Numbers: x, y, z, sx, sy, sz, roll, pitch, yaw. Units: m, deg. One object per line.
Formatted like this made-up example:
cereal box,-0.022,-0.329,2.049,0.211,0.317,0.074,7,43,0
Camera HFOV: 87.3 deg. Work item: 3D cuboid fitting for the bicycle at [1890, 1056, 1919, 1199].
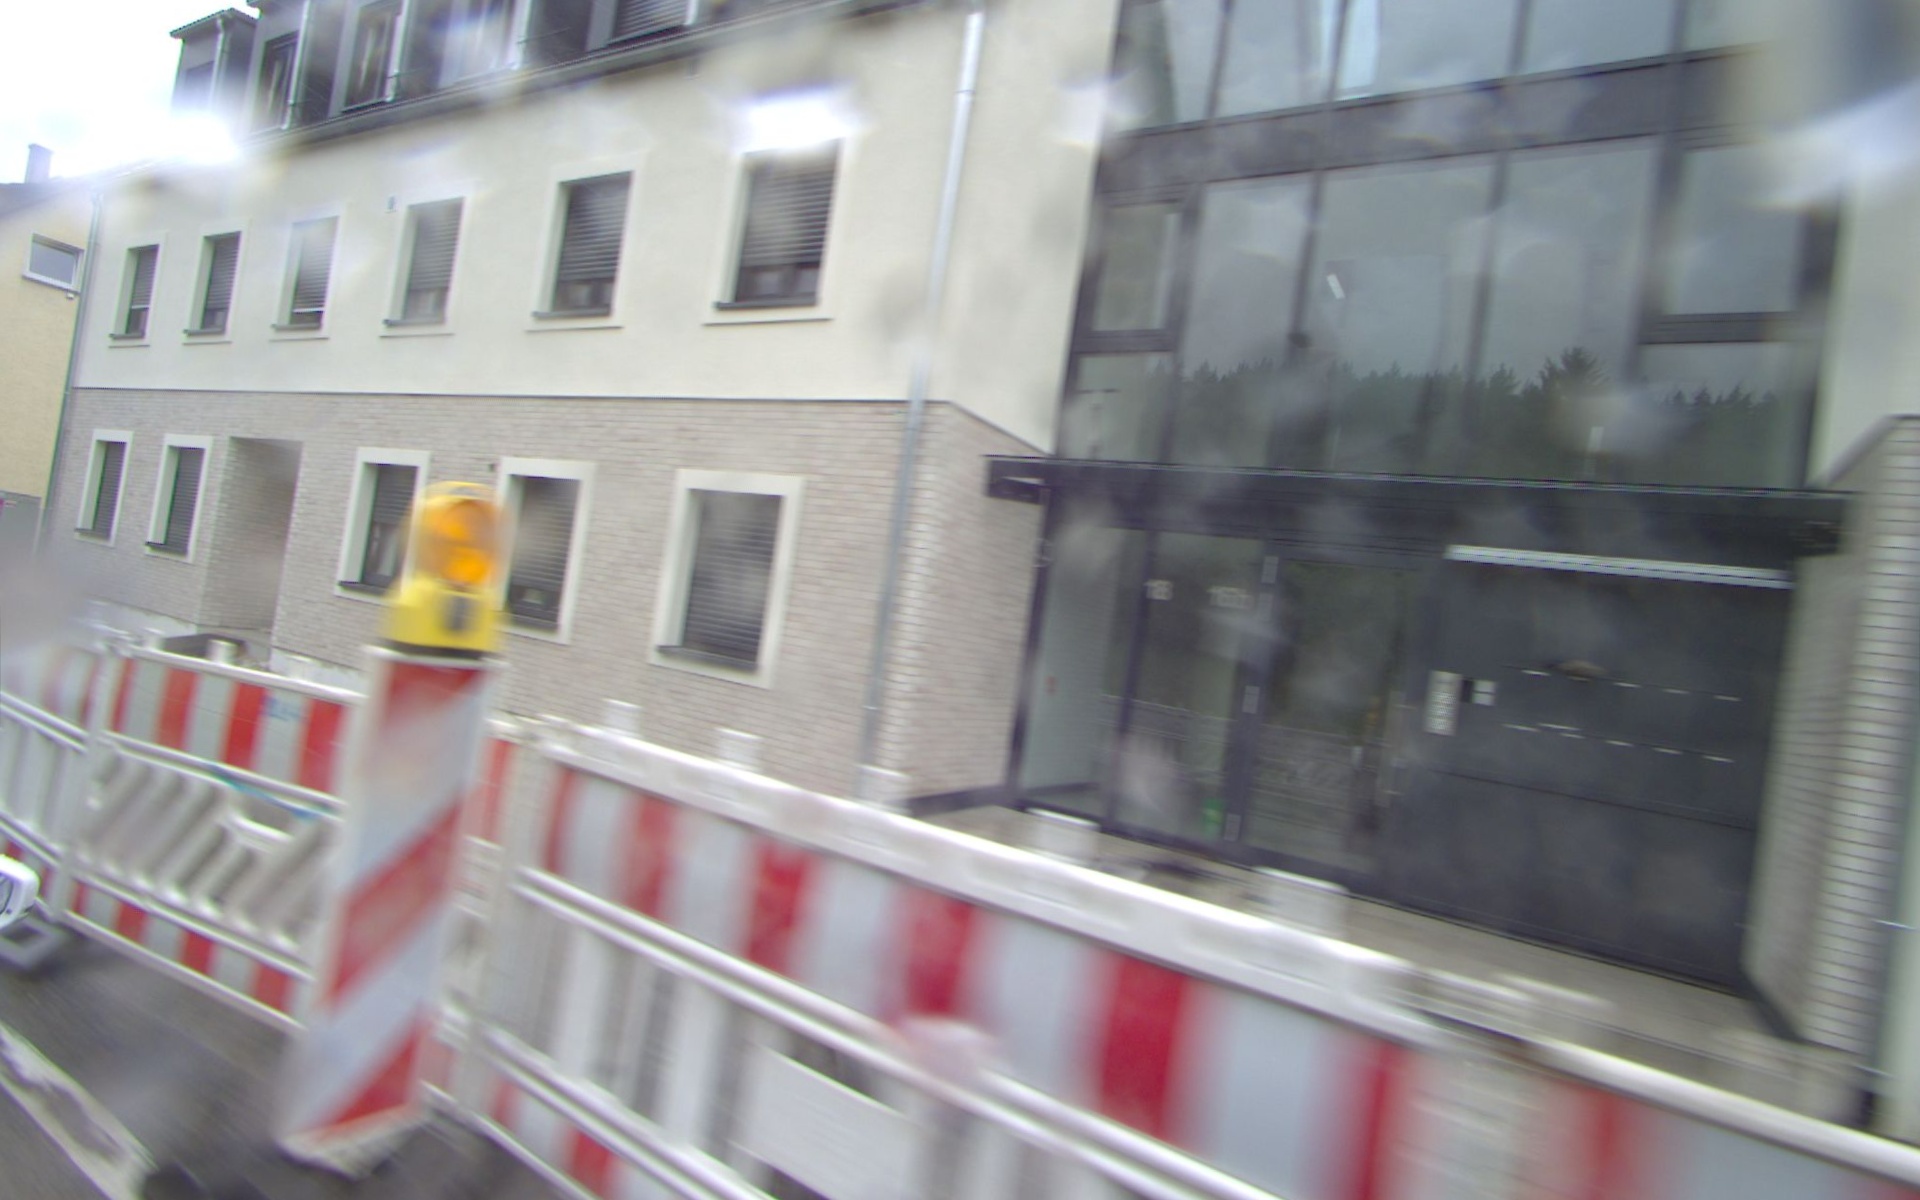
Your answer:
bicycle,1.895,1.306,1.160,1.201,1.041,0.406,7,-1,33

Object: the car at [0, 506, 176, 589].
car,-22.934,-1.402,25.609,1.880,1.314,4.162,7,-6,31

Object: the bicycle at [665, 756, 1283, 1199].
bicycle,-0.025,1.027,2.185,1.201,1.157,0.406,7,-1,33
